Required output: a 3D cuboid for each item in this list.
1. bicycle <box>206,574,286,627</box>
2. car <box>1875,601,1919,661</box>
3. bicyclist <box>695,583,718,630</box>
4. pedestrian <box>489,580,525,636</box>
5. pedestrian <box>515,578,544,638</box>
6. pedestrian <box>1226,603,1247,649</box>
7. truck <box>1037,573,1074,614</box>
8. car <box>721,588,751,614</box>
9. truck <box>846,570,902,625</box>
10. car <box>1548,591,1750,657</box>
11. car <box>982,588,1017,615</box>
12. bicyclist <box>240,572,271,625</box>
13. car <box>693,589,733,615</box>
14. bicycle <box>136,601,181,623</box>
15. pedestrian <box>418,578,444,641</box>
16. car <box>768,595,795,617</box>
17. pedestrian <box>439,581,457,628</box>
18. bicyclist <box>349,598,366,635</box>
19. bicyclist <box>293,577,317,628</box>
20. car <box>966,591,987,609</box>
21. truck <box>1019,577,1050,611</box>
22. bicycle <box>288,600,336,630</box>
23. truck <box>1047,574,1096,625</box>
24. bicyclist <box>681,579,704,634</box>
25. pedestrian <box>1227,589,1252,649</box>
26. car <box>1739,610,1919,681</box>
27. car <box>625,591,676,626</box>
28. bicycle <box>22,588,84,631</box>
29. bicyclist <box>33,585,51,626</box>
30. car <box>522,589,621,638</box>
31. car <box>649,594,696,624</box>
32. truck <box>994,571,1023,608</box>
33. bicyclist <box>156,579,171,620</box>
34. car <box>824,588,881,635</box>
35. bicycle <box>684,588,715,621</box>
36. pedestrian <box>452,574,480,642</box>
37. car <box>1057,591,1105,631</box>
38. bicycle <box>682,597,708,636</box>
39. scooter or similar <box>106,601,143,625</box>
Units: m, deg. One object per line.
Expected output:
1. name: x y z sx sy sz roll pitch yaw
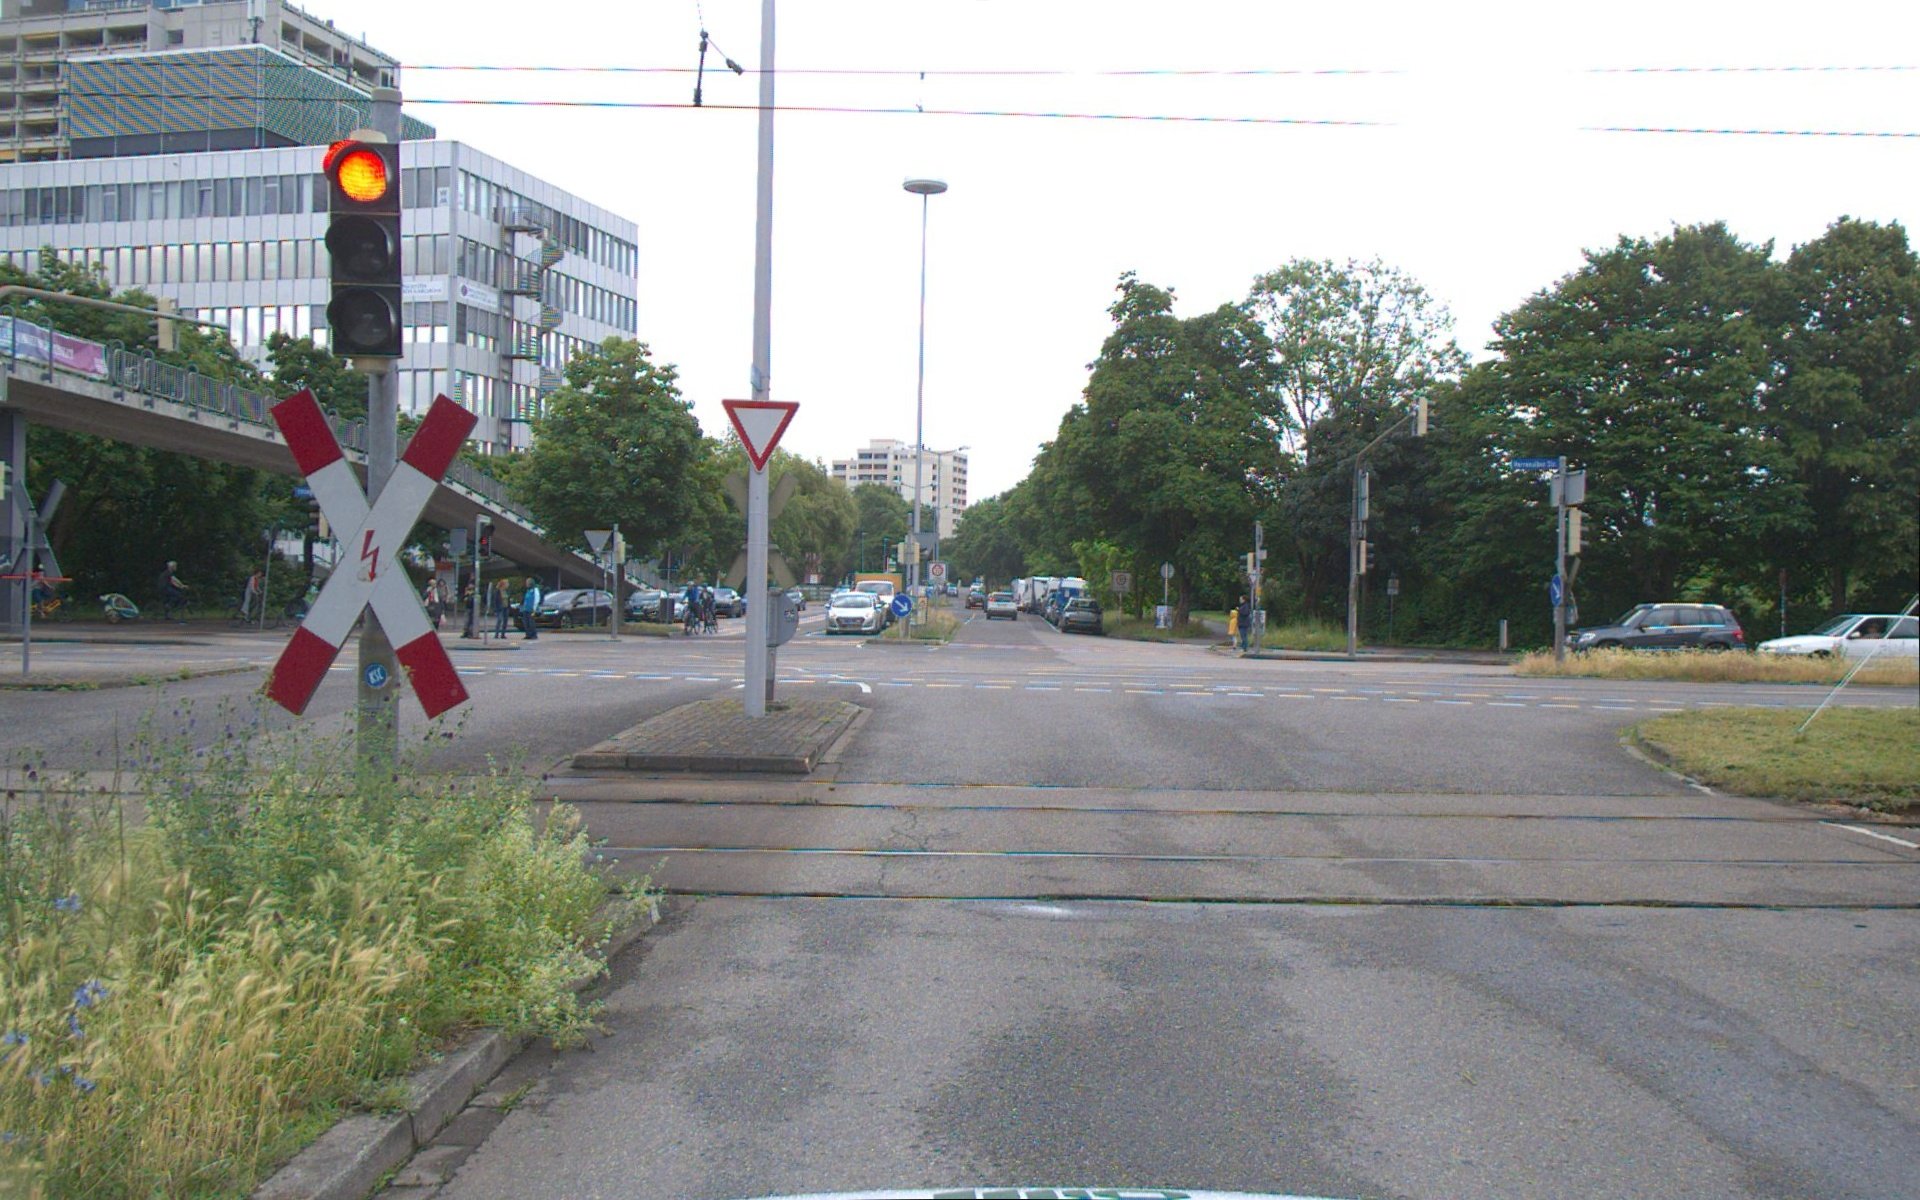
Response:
1. bicycle: -22.948 0.010 53.181 2.311 1.653 0.527 1 0 -2
2. car: 25.922 0.812 41.955 4.373 1.465 1.846 1 0 0
3. bicyclist: -8.947 0.229 58.352 0.665 1.622 0.695 1 -1 -1
4. pedestrian: -12.511 0.216 45.714 0.901 1.537 0.403 1 0 -12
5. pedestrian: -11.886 0.221 45.636 0.673 1.633 0.487 1 0 -5
6. pedestrian: 8.367 0.782 49.981 0.516 1.365 0.525 1 0 -1
7. truck: 6.902 -0.474 120.167 1.954 2.888 5.726 1 0 -4
8. car: -14.303 0.035 105.621 1.415 1.579 3.663 1 0 -1
9. truck: -3.667 -0.131 71.516 2.111 2.237 5.840 1 0 0
10. car: 17.473 0.590 42.082 4.373 1.530 1.846 1 0 0
11. car: 2.358 0.060 99.651 1.979 1.531 3.999 1 0 -1
12. bicyclist: -22.659 -0.049 53.199 0.732 1.653 0.527 1 0 -2
13. car: -14.176 0.103 95.047 1.727 1.419 3.999 1 0 -1
14. bicycle: -25.701 0.391 53.049 1.283 0.704 0.286 1 0 -37
15. pedestrian: -14.490 0.252 45.308 0.608 1.721 0.404 1 0 -15
16. car: -13.518 0.419 125.437 1.637 1.579 4.000 1 0 0
17. pedestrian: -17.423 0.152 56.283 0.570 1.607 0.777 1 0 -19
18. bicyclist: -19.652 0.529 53.936 0.396 1.202 0.377 1 1 1
19. bicyclist: -21.528 0.088 54.370 0.553 1.673 0.531 1 -1 0
20. car: 1.387 -0.026 142.482 1.523 1.531 3.997 1 0 -3
21. truck: 5.942 -0.433 132.225 1.954 2.618 5.375 1 0 -3
22. bicycle: -21.236 0.484 54.257 0.618 0.941 2.523 1 1 -1
23. truck: 6.070 0.001 90.805 2.130 2.703 6.245 0 0 -1
24. bicyclist: -9.003 0.215 55.607 0.631 1.799 0.646 1 0 -1
25. pedestrian: 8.338 0.560 49.389 0.643 1.780 0.459 1 0 -1
26. car: 18.715 0.948 34.580 4.052 1.381 1.647 1 0 0
27. car: -14.463 0.383 77.409 1.637 1.579 3.892 1 0 0
28. bicycle: -28.535 0.302 52.027 1.671 1.327 0.388 1 0 -6
29. bicyclist: -28.824 0.163 51.926 0.398 1.275 0.276 1 0 -7
30. car: -13.347 0.437 57.039 1.636 1.579 4.003 1 0 15
31. car: -14.380 0.427 82.906 1.637 1.411 3.895 1 0 0
32. truck: 4.166 -0.903 142.992 1.954 3.061 5.767 1 0 -4
33. bicyclist: -25.589 -0.021 53.137 0.380 1.326 0.275 1 0 -38
34. car: -3.724 0.387 57.858 1.753 1.545 4.325 1 0 -1
35. bicycle: -9.039 0.149 57.494 0.712 1.120 2.264 1 0 -1
36. pedestrian: -13.639 0.214 45.667 0.625 1.835 0.800 1 0 -10
37. car: 5.386 0.466 73.996 1.747 1.691 3.999 1 0 -1
38. bicycle: -8.952 0.548 55.873 0.532 1.289 2.110 1 0 -1
39. scooter or similar: -26.504 0.411 52.451 0.986 0.727 0.401 1 0 -36
